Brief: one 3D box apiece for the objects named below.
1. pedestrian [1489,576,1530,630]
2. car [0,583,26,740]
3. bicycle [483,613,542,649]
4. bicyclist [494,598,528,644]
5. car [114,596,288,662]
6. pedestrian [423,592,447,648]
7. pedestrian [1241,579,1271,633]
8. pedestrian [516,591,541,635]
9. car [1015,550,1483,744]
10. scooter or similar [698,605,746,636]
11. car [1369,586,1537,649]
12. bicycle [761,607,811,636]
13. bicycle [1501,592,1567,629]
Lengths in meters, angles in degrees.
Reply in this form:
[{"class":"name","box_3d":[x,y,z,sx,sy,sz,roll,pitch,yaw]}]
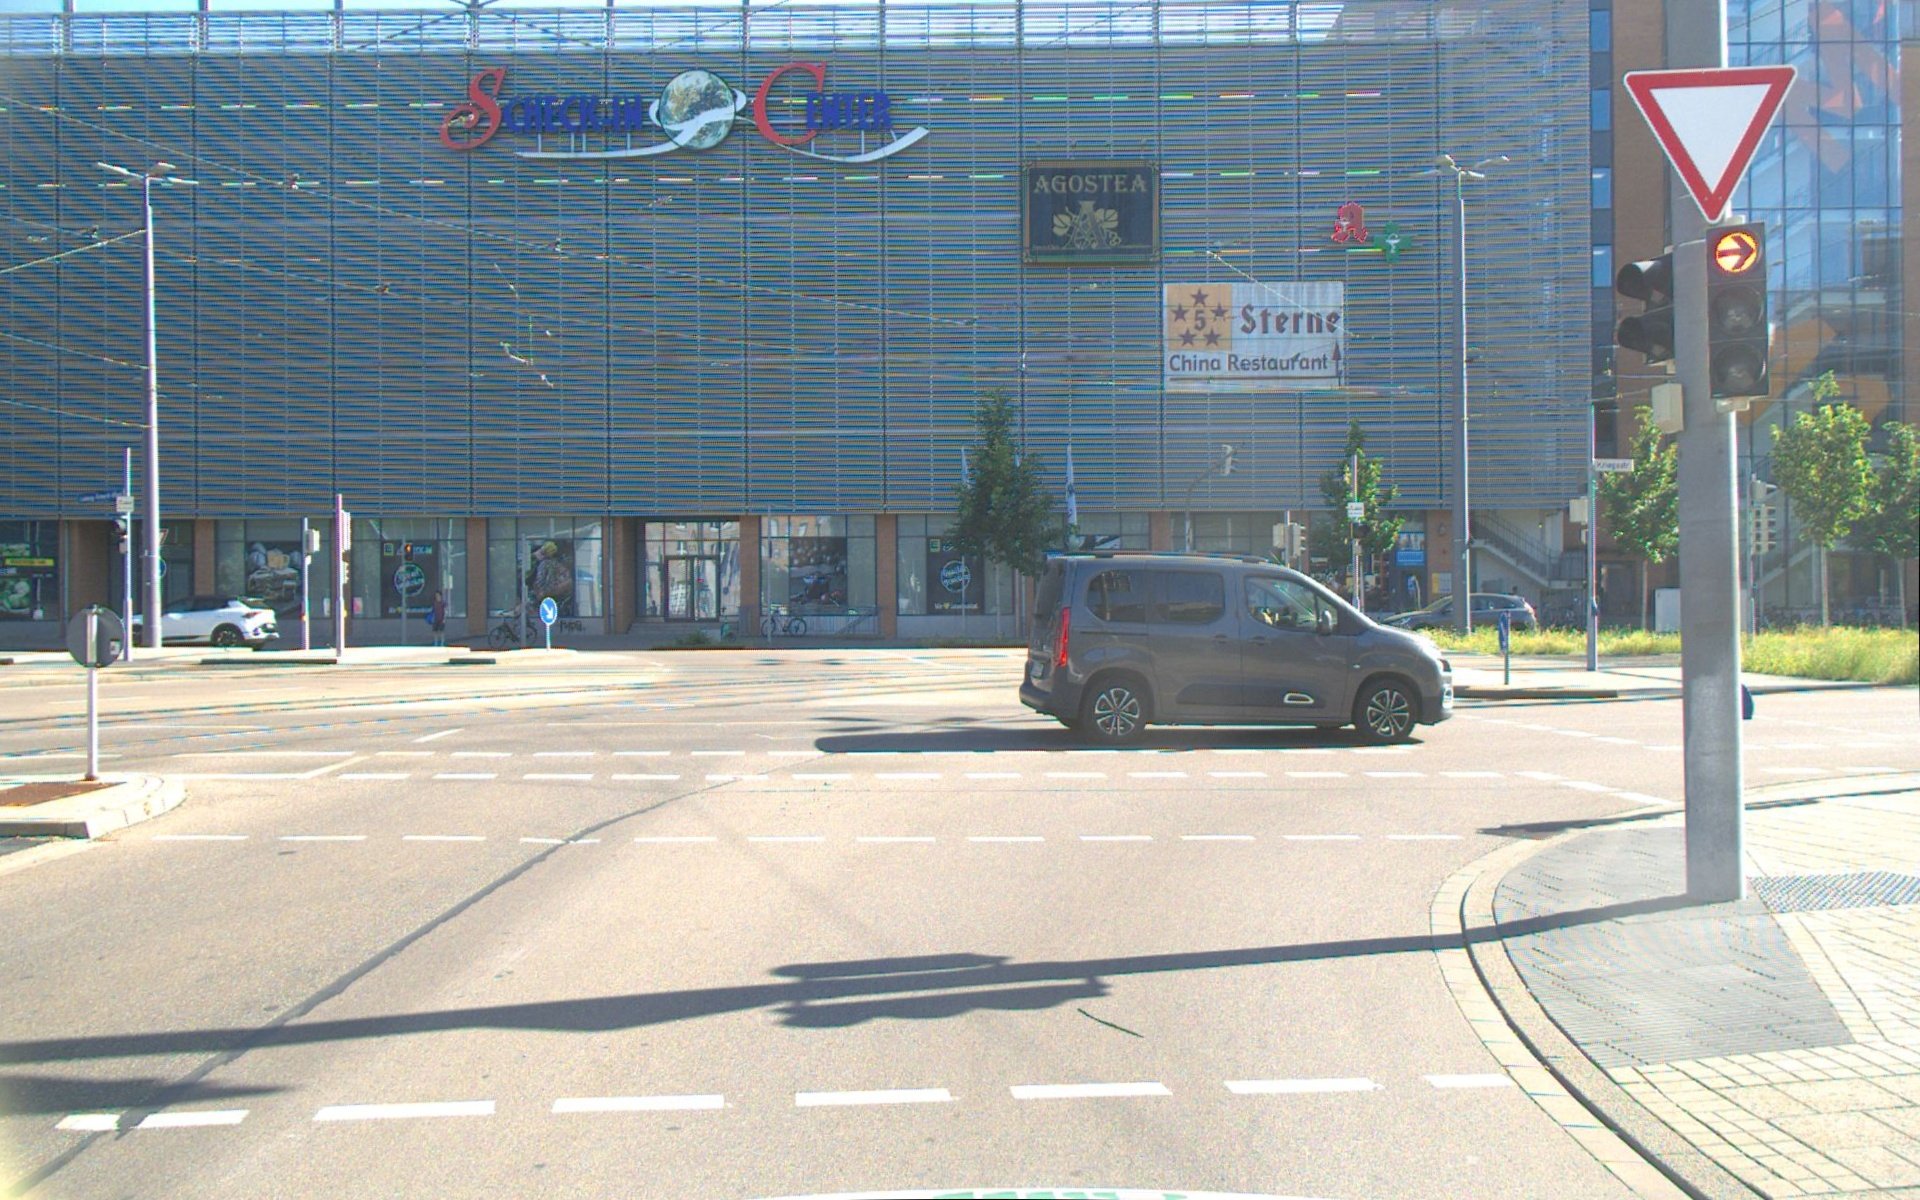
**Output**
[{"class":"pedestrian","box_3d":[19.686,0.105,59.265,0.994,1.860,1.033,-2,0,-11]},{"class":"car","box_3d":[-11.210,0.610,15.154,4.198,1.498,1.863,0,0,-5]},{"class":"bicycle","box_3d":[-14.767,1.007,54.618,0.559,1.105,1.852,0,2,42]},{"class":"bicyclist","box_3d":[-14.799,0.690,54.543,0.663,1.452,0.844,0,2,42]},{"class":"car","box_3d":[-22.307,0.849,48.735,4.238,1.895,1.840,0,-1,-2]},{"class":"pedestrian","box_3d":[-17.338,0.663,54.667,0.683,1.829,0.727,-2,0,-17]},{"class":"pedestrian","box_3d":[10.648,0.223,59.576,0.930,1.860,0.846,-2,-4,5]},{"class":"pedestrian","box_3d":[-16.037,0.481,61.468,0.646,1.629,0.594,1,-1,18]},{"class":"car","box_3d":[2.856,0.427,16.748,4.376,1.823,1.706,0,0,-9]},{"class":"scooter or similar","box_3d":[-8.745,0.748,60.779,1.759,1.085,0.611,0,1,-9]},{"class":"car","box_3d":[13.670,0.496,46.045,4.063,1.495,1.840,3,-1,-2]},{"class":"bicycle","box_3d":[-6.365,0.779,60.432,1.783,1.006,0.556,0,1,-11]},{"class":"bicycle","box_3d":[21.289,0.391,61.351,2.209,1.318,0.605,1,-1,-2]}]
